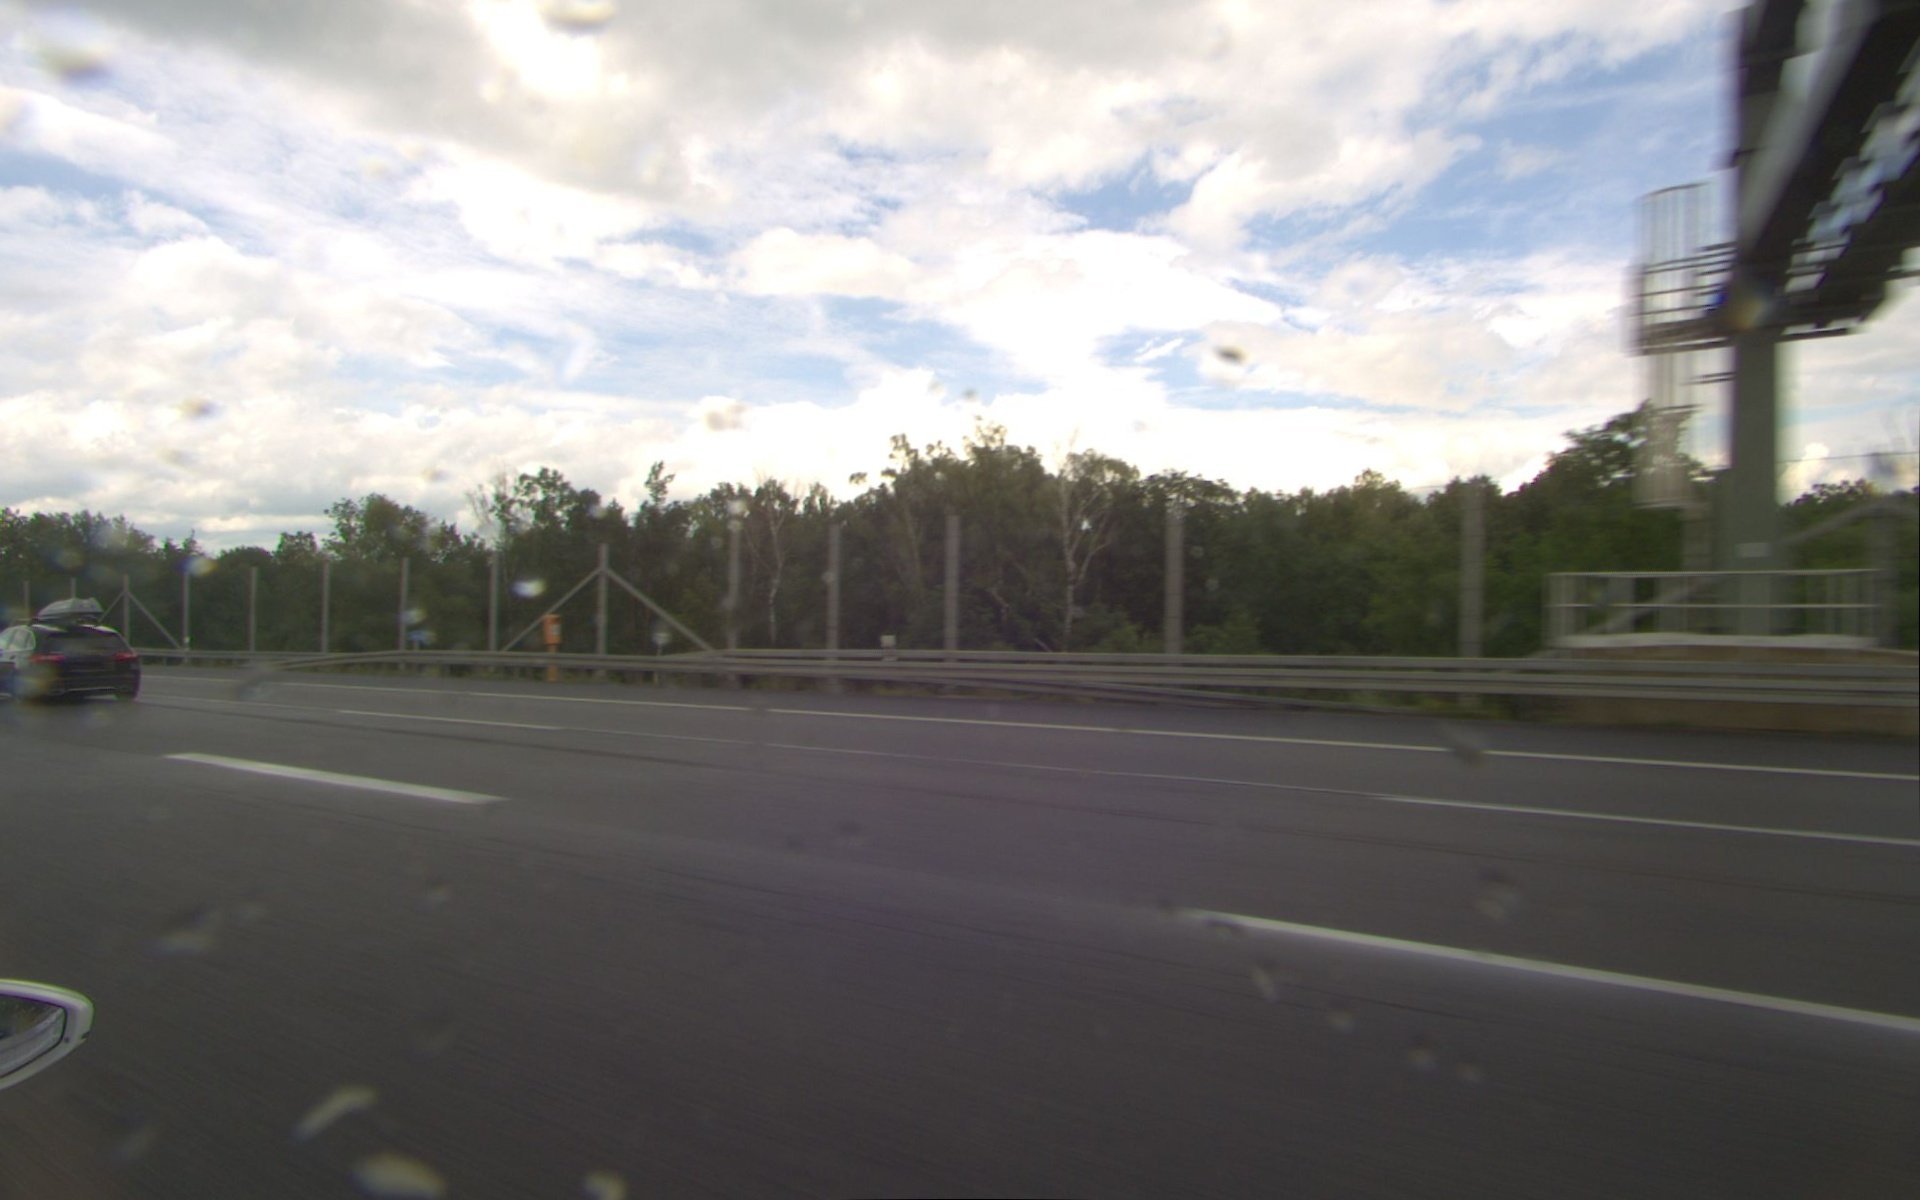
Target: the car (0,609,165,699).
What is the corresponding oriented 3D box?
[{"bbox_3d":[-18.422,1.032,20.383,4.996,1.626,2.100,-1,-1,34],"label":"car"}]
